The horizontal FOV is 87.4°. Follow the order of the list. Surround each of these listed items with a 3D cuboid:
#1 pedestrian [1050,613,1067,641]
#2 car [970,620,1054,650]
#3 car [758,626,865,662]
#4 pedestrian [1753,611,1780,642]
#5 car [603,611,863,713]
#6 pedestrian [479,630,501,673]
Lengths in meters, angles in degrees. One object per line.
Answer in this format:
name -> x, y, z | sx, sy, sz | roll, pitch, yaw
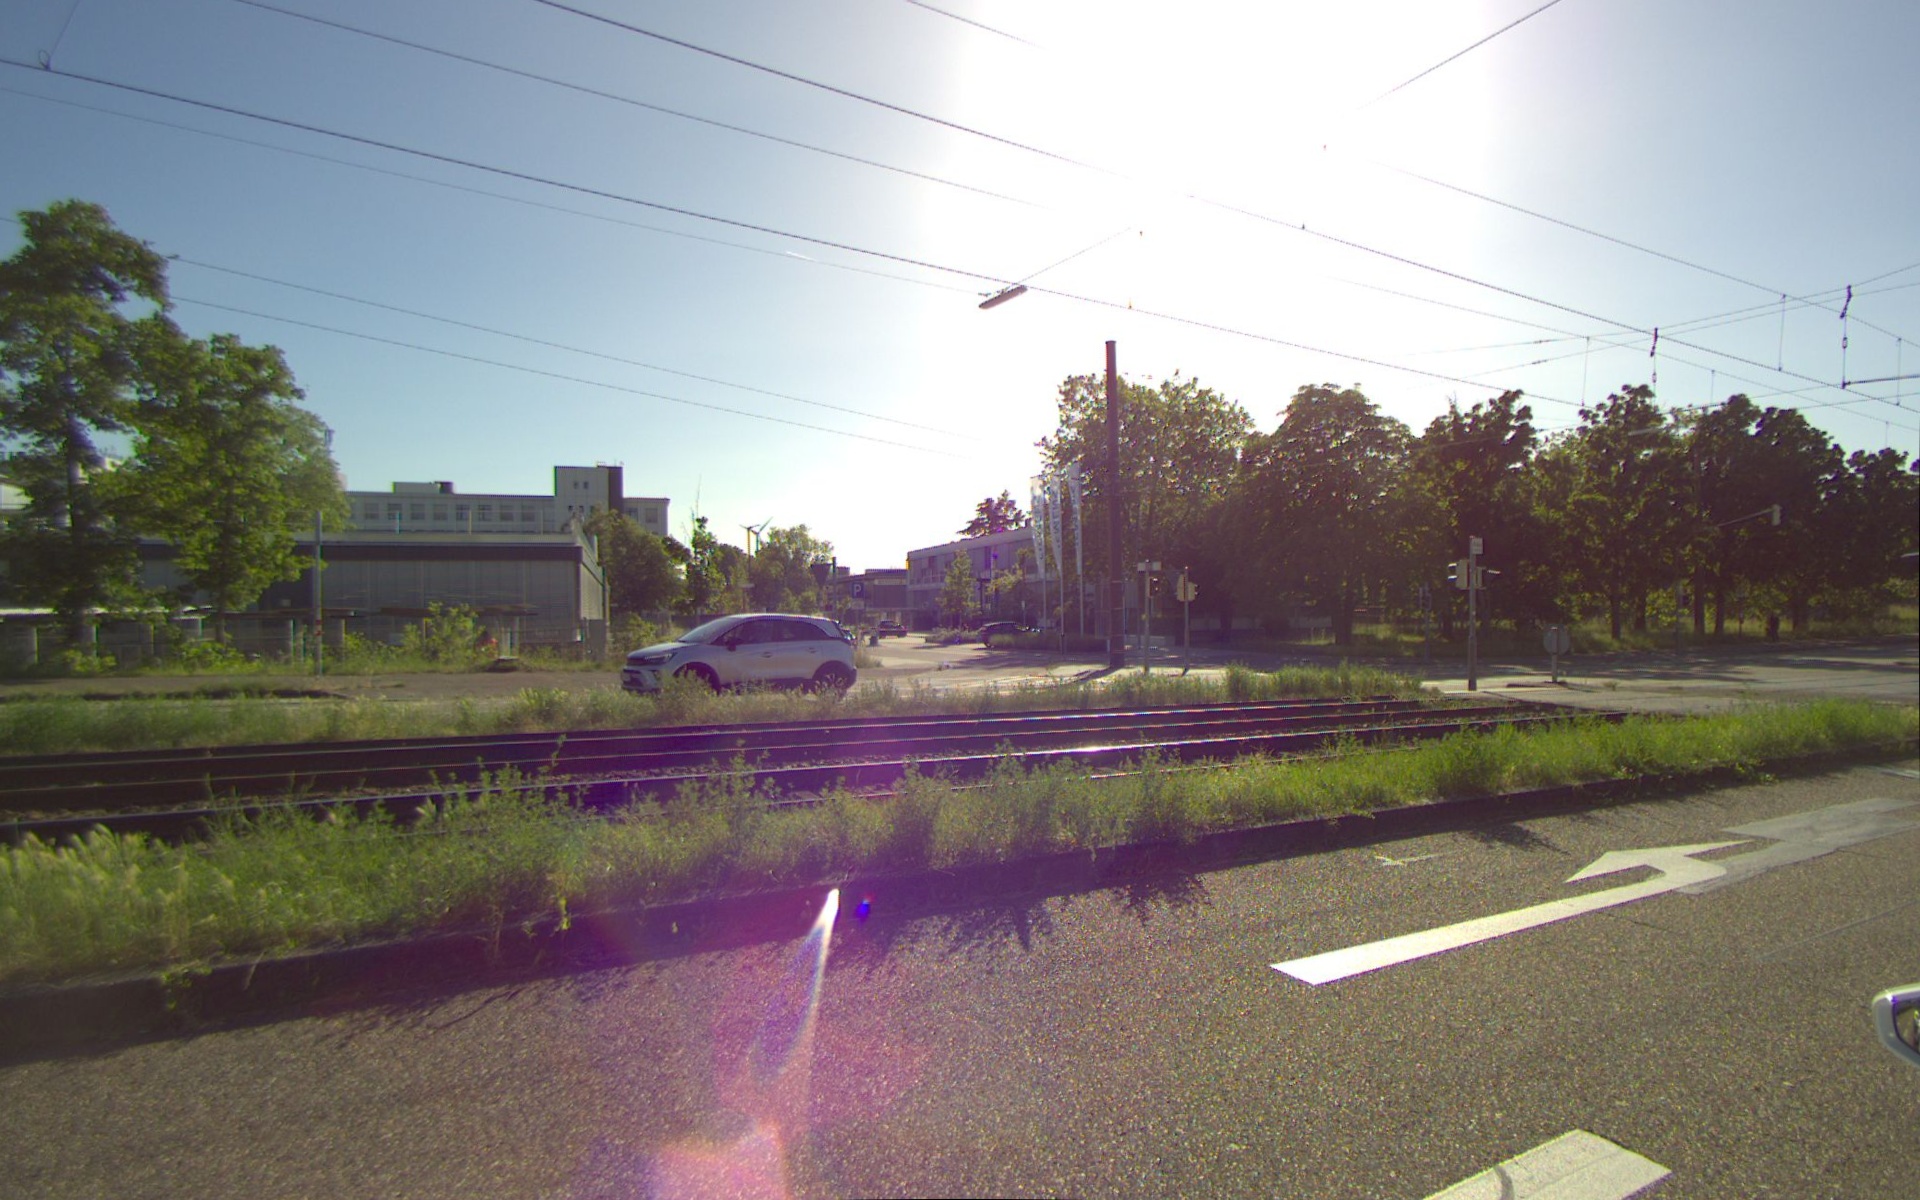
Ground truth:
pedestrian -> 6.424, 1.788, 65.785 | 0.807, 1.811, 0.950 | 0, 0, -16
car -> 3.202, 2.128, 61.717 | 4.768, 1.751, 2.041 | 1, 0, -21
car -> -7.677, 2.249, 51.922 | 5.210, 1.772, 2.164 | 1, 0, -19
pedestrian -> 46.043, 1.494, 57.345 | 0.919, 1.757, 0.761 | 0, 0, -2
car -> -3.951, 1.016, 17.741 | 4.116, 1.578, 1.842 | 1, 0, -36
pedestrian -> -14.684, 1.602, 31.373 | 0.432, 1.318, 0.441 | 0, 0, 18
